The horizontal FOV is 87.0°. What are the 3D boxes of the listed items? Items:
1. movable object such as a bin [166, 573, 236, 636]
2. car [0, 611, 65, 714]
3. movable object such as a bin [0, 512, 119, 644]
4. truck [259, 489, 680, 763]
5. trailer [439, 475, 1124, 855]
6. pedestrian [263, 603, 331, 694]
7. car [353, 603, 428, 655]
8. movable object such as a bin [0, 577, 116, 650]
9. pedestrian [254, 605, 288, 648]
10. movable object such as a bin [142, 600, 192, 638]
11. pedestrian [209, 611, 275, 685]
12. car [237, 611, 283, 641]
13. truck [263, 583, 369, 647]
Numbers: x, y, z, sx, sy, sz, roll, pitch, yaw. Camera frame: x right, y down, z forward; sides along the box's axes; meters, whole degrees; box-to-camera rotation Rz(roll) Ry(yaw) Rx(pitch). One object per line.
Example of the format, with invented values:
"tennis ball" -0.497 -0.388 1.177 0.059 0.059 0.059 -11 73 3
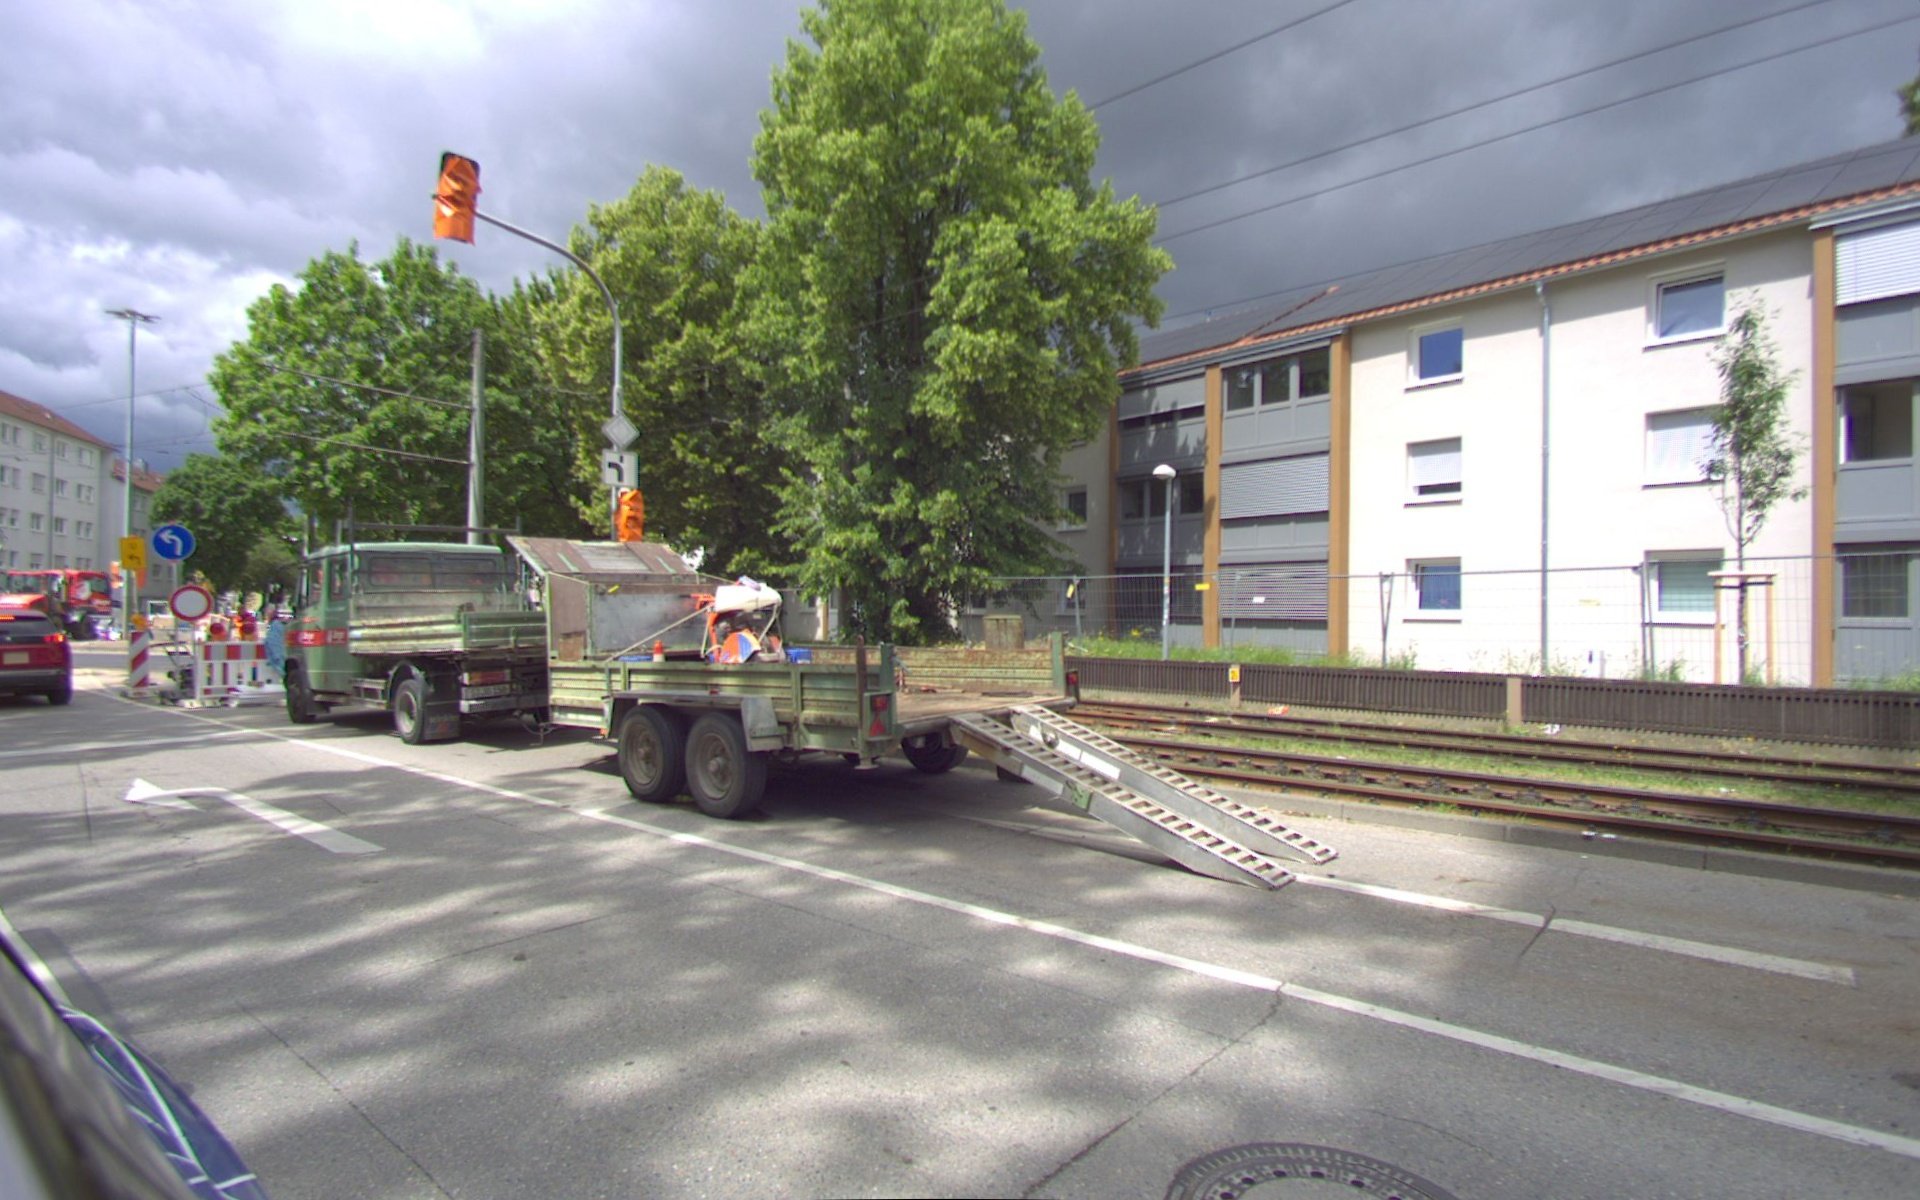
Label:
"movable object such as a bin" -57.660 0.401 77.007 2.777 4.570 6.229 1 -2 -23
"car" -16.763 0.998 17.154 4.239 1.630 1.823 -1 -1 41
"movable object such as a bin" -41.385 -0.906 43.069 2.787 5.527 9.015 0 -2 7
"truck" -6.643 0.301 13.229 6.392 2.746 2.635 -2 0 41
"trailer" -1.947 0.422 8.999 6.244 2.230 2.635 -2 0 41
"pedestrian" -12.804 0.916 19.550 0.822 1.680 0.702 2 0 19
"car" -22.232 1.115 39.415 1.967 1.901 5.263 1 -2 -35
"movable object such as a bin" -36.196 0.496 40.051 2.080 2.689 5.603 1 -1 -15
"pedestrian" -27.584 1.049 40.513 0.860 1.672 0.931 0 -1 -16
"movable object such as a bin" -53.653 1.319 68.525 1.965 2.428 4.012 1 -2 -28
"pedestrian" -15.565 1.027 21.956 0.889 1.563 0.764 -1 0 2
"car" -49.294 1.863 71.397 1.965 2.029 5.927 1 -2 -28
"truck" -27.889 0.687 44.068 2.378 2.588 5.599 1 -1 -16
